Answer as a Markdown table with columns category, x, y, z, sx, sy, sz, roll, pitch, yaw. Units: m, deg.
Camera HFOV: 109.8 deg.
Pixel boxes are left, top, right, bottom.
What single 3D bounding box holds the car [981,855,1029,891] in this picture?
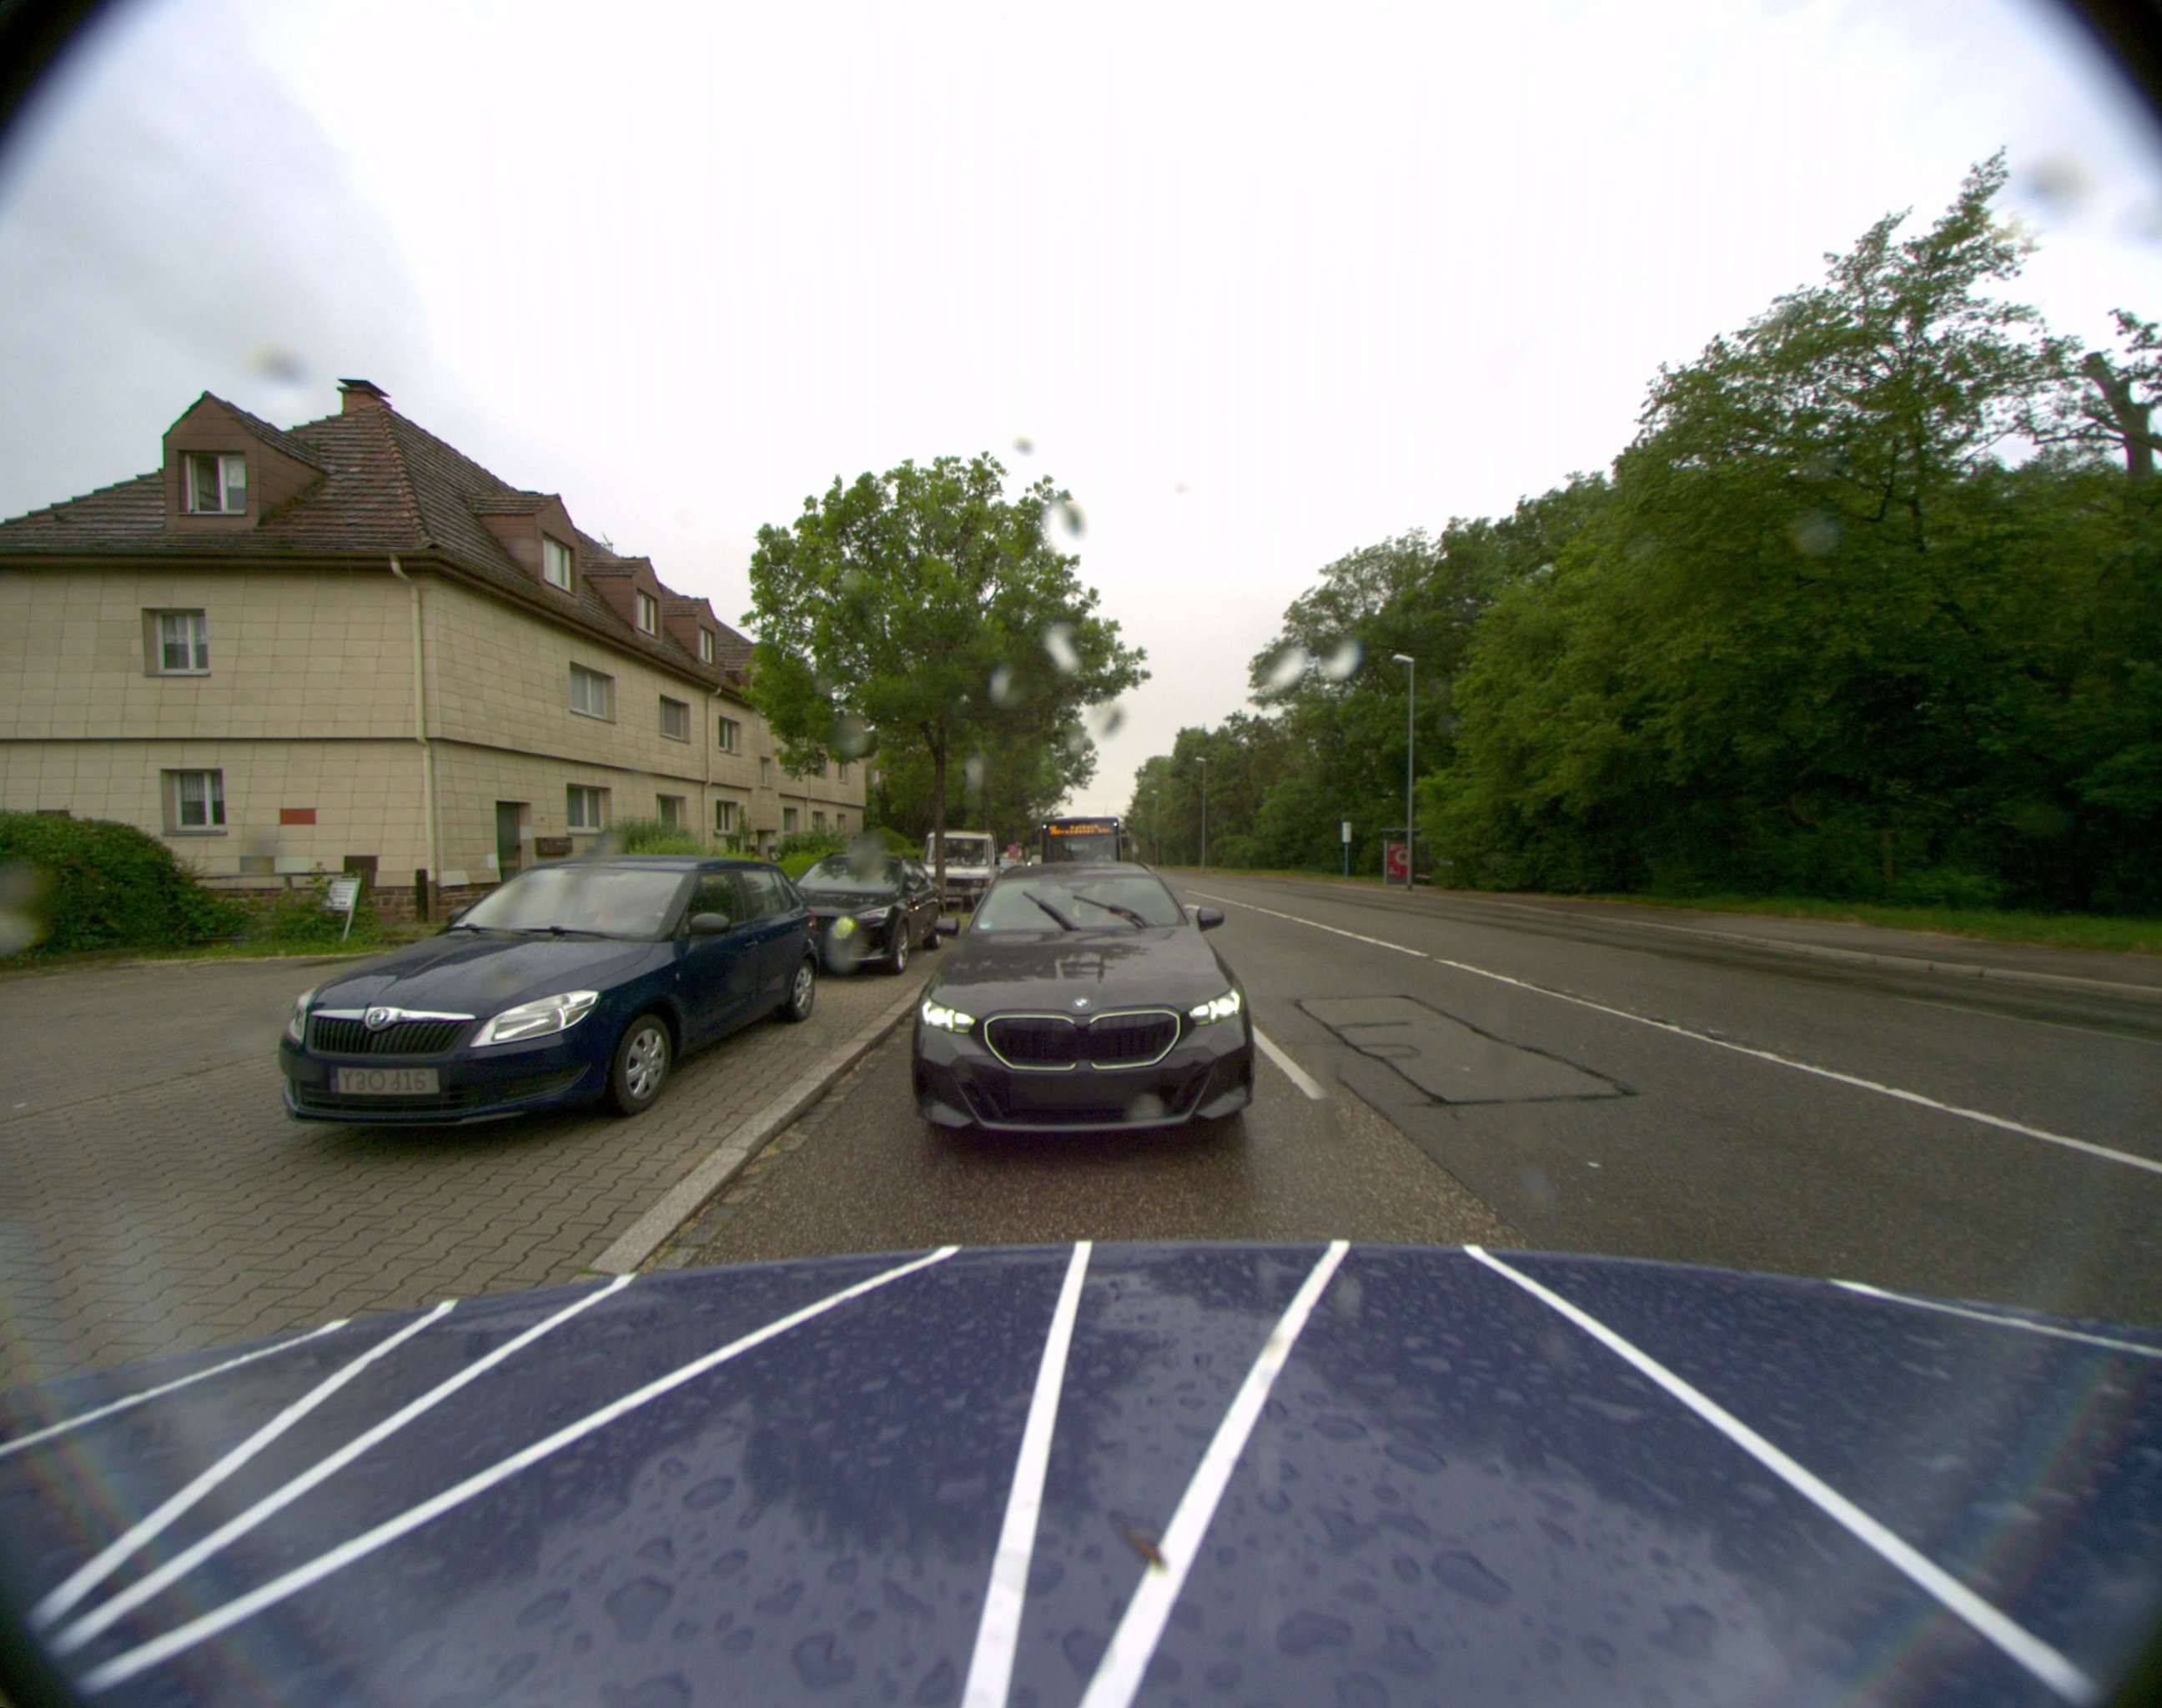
| category | x | y | z | sx | sy | sz | roll | pitch | yaw |
| --- | --- | --- | --- | --- | --- | --- | --- | --- | --- |
| car | -3.284 | 0.854 | 33.390 | 1.605 | 1.427 | 4.023 | 3 | -2 | 0 |

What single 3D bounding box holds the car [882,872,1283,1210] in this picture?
| category | x | y | z | sx | sy | sz | roll | pitch | yaw |
| --- | --- | --- | --- | --- | --- | --- | --- | --- | --- |
| car | -0.005 | 0.934 | 5.825 | 1.855 | 1.461 | 4.483 | -1 | 0 | 0 |

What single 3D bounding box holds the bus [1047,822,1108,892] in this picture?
| category | x | y | z | sx | sy | sz | roll | pitch | yaw |
| --- | --- | --- | --- | --- | --- | --- | --- | --- | --- |
| bus | -0.305 | 0.131 | 36.913 | 2.562 | 2.942 | 8.555 | -1 | 0 | -2 |

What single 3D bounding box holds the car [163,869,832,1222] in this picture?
| category | x | y | z | sx | sy | sz | roll | pitch | yaw |
| --- | --- | --- | --- | --- | --- | --- | --- | --- | --- |
| car | -3.221 | 0.883 | 5.284 | 1.608 | 1.463 | 3.856 | 1 | 0 | 1 |

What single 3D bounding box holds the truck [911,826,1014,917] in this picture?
| category | x | y | z | sx | sy | sz | roll | pitch | yaw |
| --- | --- | --- | --- | --- | --- | --- | --- | --- | --- |
| truck | -3.258 | 0.435 | 22.354 | 2.085 | 2.208 | 6.500 | 2 | 0 | -1 |

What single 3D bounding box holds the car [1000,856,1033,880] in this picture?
| category | x | y | z | sx | sy | sz | roll | pitch | yaw |
| --- | --- | --- | --- | --- | --- | --- | --- | --- | --- |
| car | -3.947 | 0.840 | 47.122 | 1.692 | 1.381 | 4.499 | 1 | 0 | -1 |

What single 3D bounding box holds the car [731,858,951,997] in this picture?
| category | x | y | z | sx | sy | sz | roll | pitch | yaw |
| --- | --- | --- | --- | --- | --- | --- | --- | --- | --- |
| car | -3.080 | 0.848 | 10.705 | 1.718 | 1.490 | 4.183 | 2 | 0 | 0 |

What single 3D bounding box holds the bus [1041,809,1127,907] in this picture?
| category | x | y | z | sx | sy | sz | roll | pitch | yaw |
| --- | --- | --- | --- | --- | --- | --- | --- | --- | --- |
| bus | -0.035 | 0.134 | 27.987 | 2.563 | 2.942 | 9.448 | -1 | 0 | -2 |
